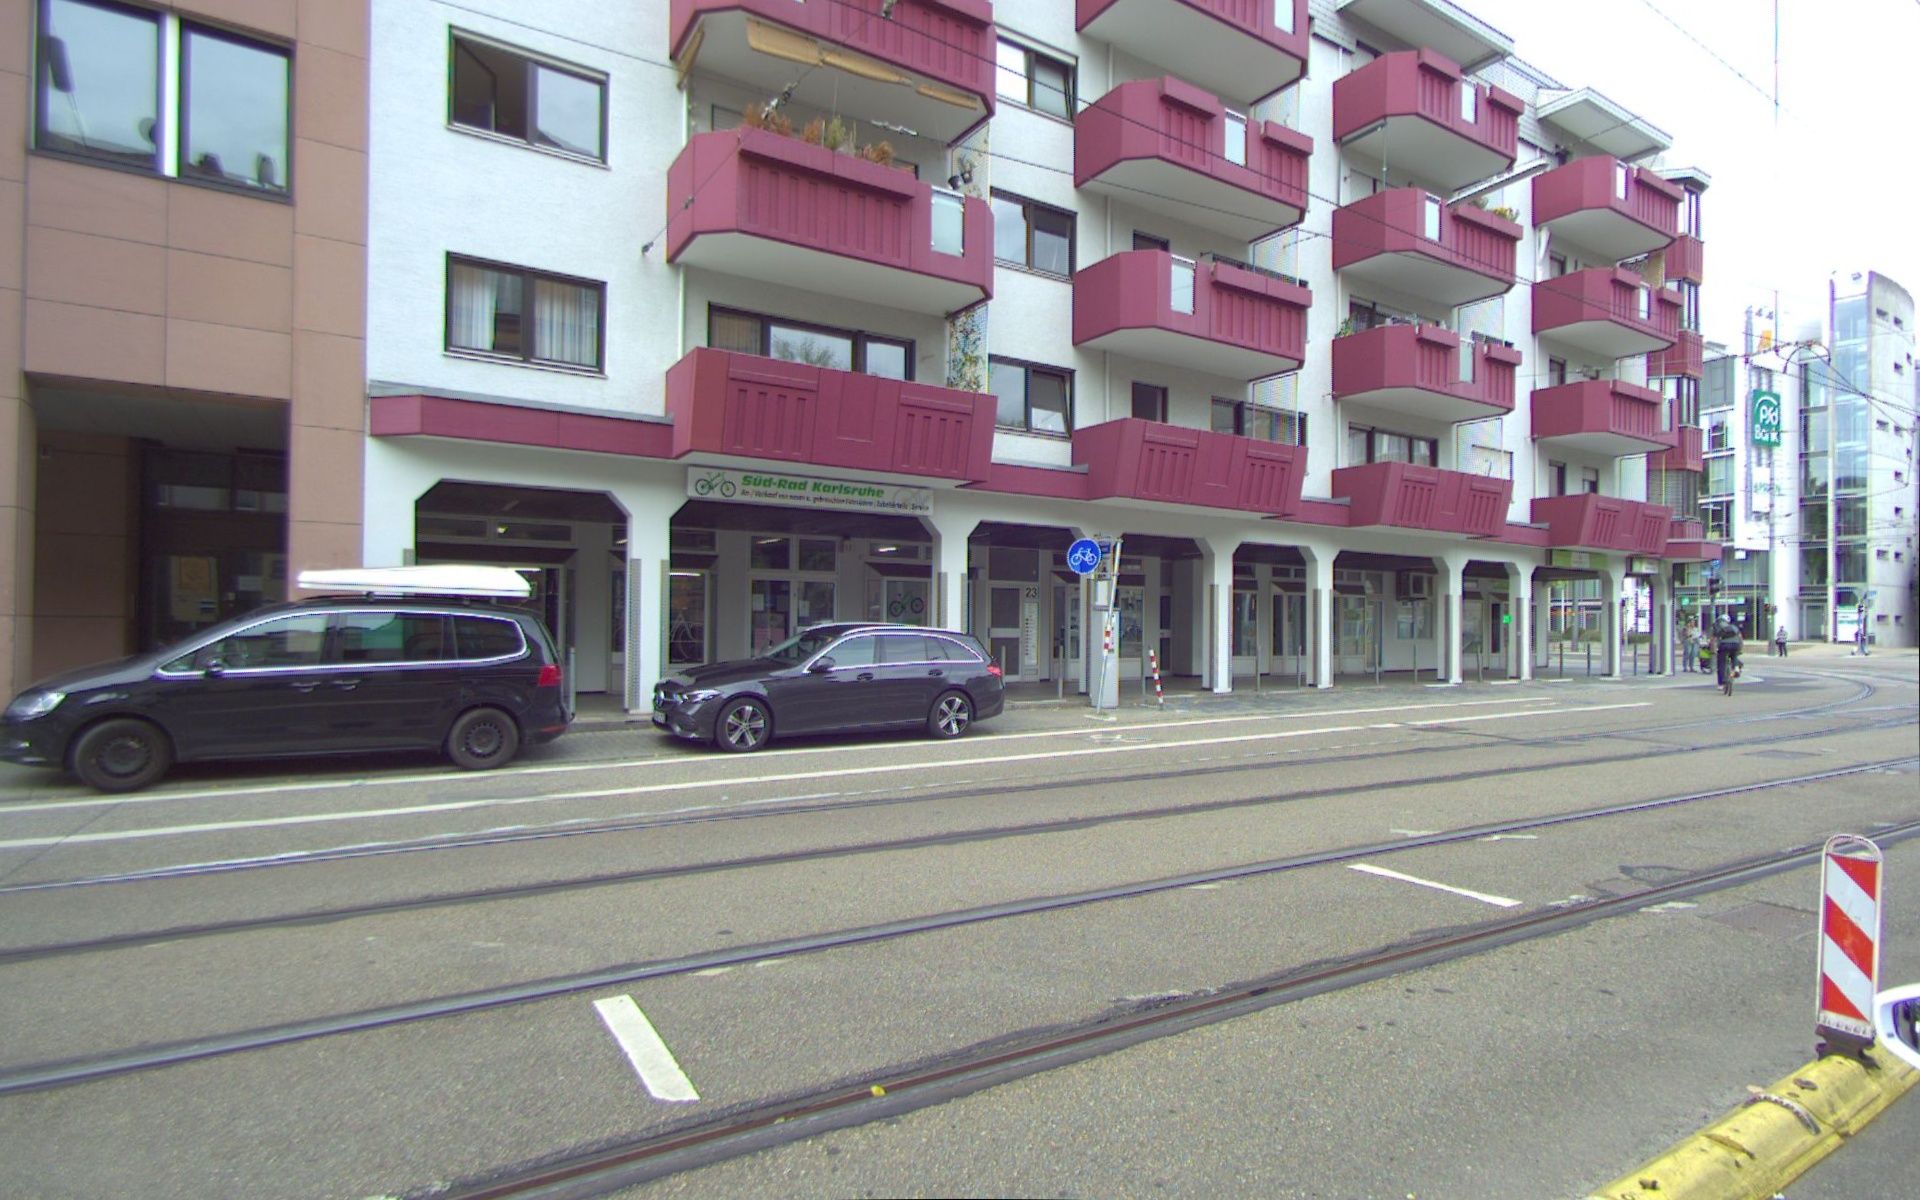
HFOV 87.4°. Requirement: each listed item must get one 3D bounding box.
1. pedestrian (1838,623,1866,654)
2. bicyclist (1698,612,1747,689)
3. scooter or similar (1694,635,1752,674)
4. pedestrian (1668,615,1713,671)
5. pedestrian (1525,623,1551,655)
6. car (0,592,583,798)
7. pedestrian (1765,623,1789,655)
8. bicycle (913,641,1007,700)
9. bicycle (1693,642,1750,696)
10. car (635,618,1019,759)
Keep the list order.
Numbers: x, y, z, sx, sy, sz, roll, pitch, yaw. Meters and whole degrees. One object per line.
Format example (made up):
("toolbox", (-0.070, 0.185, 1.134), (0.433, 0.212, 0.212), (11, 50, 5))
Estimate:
("pedestrian", (54.582, 2.367, 61.494), (0.889, 1.880, 0.987), (1, -1, -23))
("bicyclist", (16.997, 1.111, 22.388), (0.742, 1.673, 1.049), (-1, -1, 44))
("scooter or similar", (23.914, 1.698, 31.483), (0.936, 1.143, 1.189), (1, 0, -32))
("pedestrian", (23.429, 1.356, 32.222), (0.803, 1.766, 0.942), (1, -1, -33))
("pedestrian", (30.959, 2.073, 53.782), (0.753, 1.693, 0.935), (1, -1, -17))
("car", (-6.465, 0.818, 10.240), (4.645, 1.669, 1.797), (1, 1, -32))
("pedestrian", (49.429, 2.348, 60.768), (0.754, 1.889, 0.833), (1, -1, -17))
("bicycle", (0.015, 1.197, 17.349), (1.636, 0.966, 0.560), (1, -1, -39))
("bicycle", (16.980, 1.504, 22.376), (0.754, 1.101, 2.347), (-1, -2, 44))
("car", (-1.643, 1.029, 13.051), (4.645, 1.500, 1.745), (1, 1, -32))
